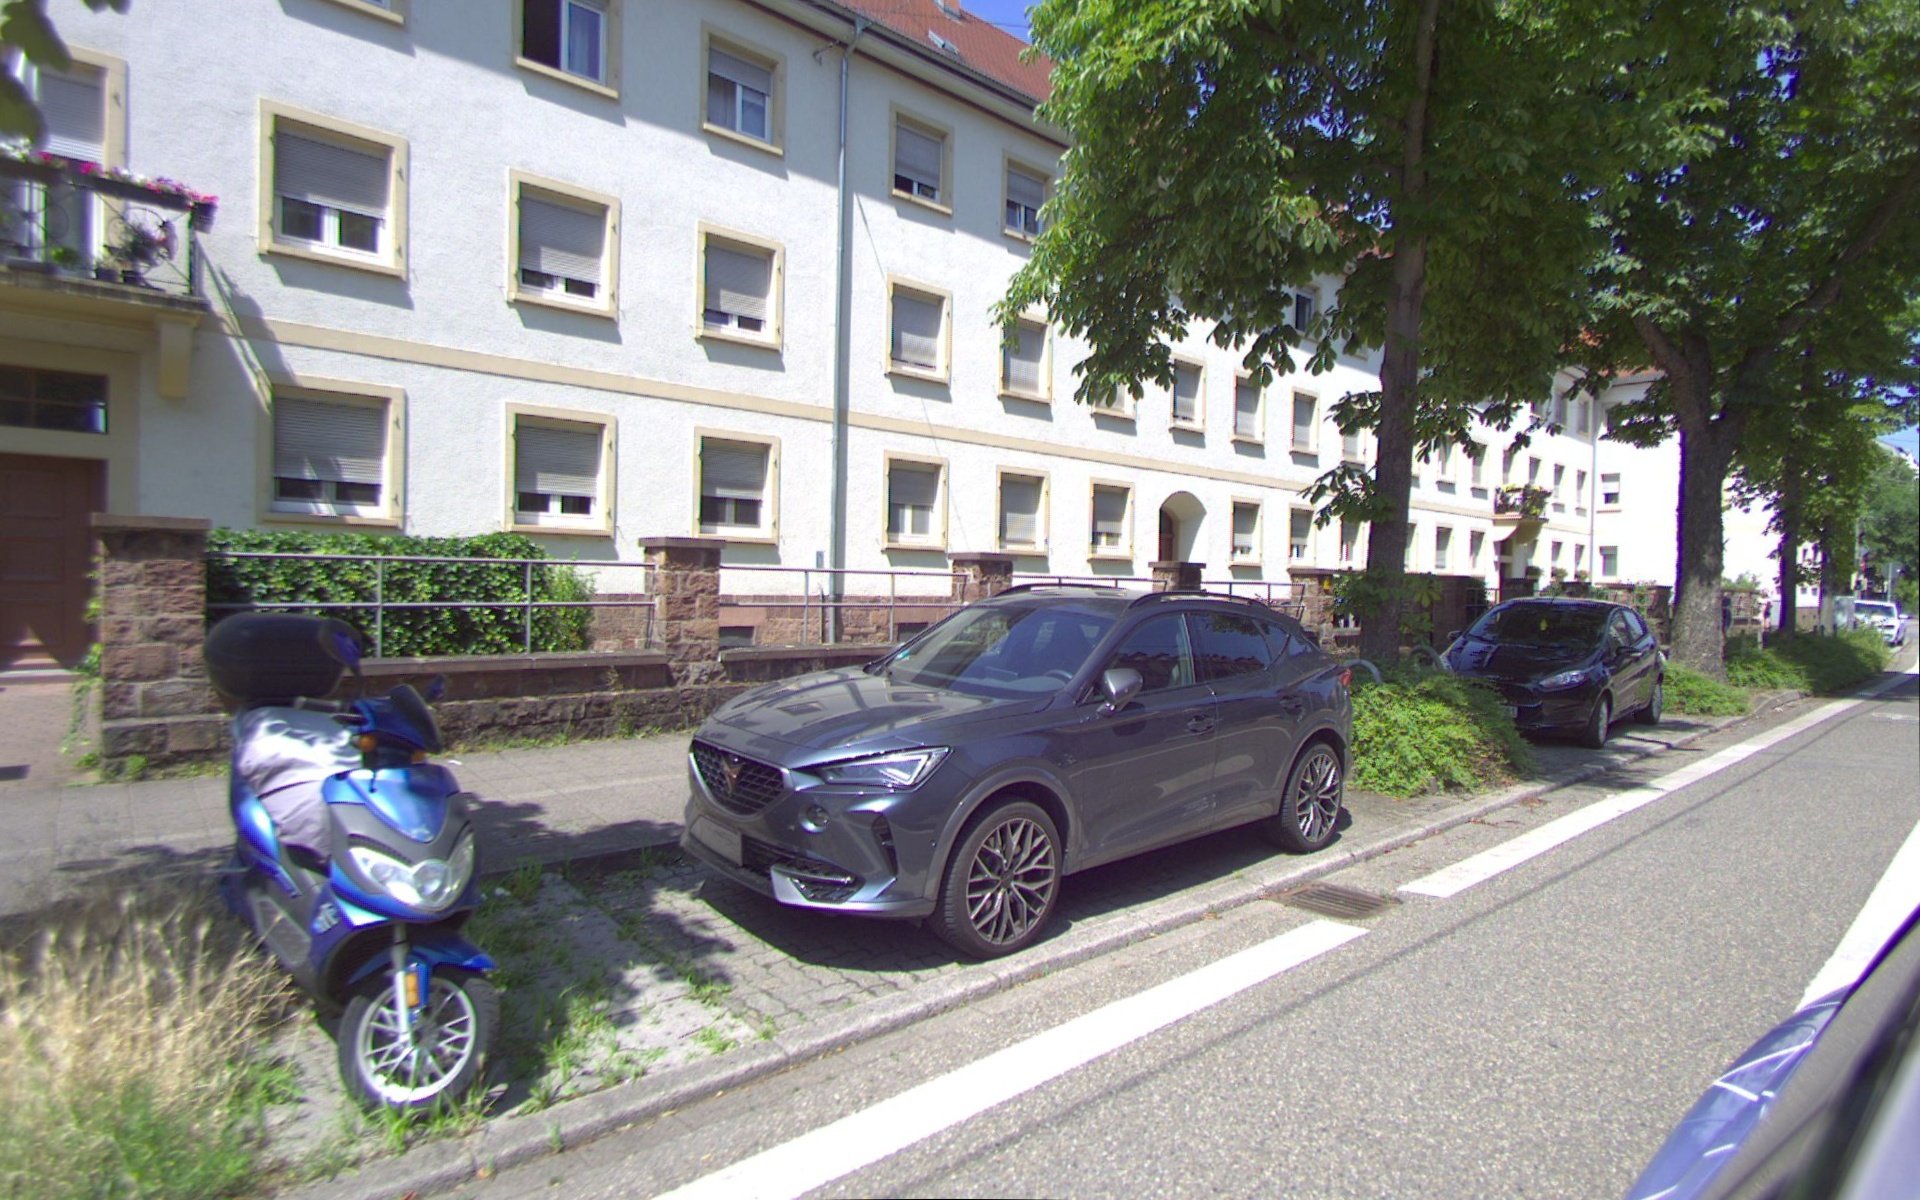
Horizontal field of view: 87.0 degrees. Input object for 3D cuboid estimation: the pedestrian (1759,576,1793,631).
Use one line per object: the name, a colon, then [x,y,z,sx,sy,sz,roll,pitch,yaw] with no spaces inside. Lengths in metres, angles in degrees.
pedestrian: [26.038,0.108,32.294,0.743,1.690,0.698,1,1,-43]

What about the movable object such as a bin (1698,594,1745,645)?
movable object such as a bin: [19.459,0.486,25.849,1.019,1.200,0.699,1,4,-42]

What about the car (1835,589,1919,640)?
car: [31.169,0.451,34.248,4.086,1.426,1.782,0,7,-43]

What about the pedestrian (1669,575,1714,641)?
pedestrian: [19.370,0.206,26.808,0.743,1.689,0.699,1,4,-42]

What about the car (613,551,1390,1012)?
car: [0.560,0.618,5.638,4.378,1.571,1.735,1,2,-43]

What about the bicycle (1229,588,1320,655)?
bicycle: [5.869,0.390,18.829,1.935,1.139,0.598,1,5,-40]

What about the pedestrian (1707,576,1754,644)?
pedestrian: [20.164,0.252,26.477,0.854,1.689,0.699,1,4,-42]

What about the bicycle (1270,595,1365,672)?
bicycle: [6.152,0.555,17.348,1.935,1.224,0.598,1,4,-42]

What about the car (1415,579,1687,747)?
car: [6.836,0.591,11.527,3.934,1.534,1.658,1,2,-44]

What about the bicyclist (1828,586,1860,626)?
bicyclist: [33.217,0.229,38.016,0.992,1.470,0.713,1,2,-39]

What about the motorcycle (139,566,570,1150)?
motorcycle: [-2.139,0.638,3.444,1.911,1.451,0.662,3,1,40]
